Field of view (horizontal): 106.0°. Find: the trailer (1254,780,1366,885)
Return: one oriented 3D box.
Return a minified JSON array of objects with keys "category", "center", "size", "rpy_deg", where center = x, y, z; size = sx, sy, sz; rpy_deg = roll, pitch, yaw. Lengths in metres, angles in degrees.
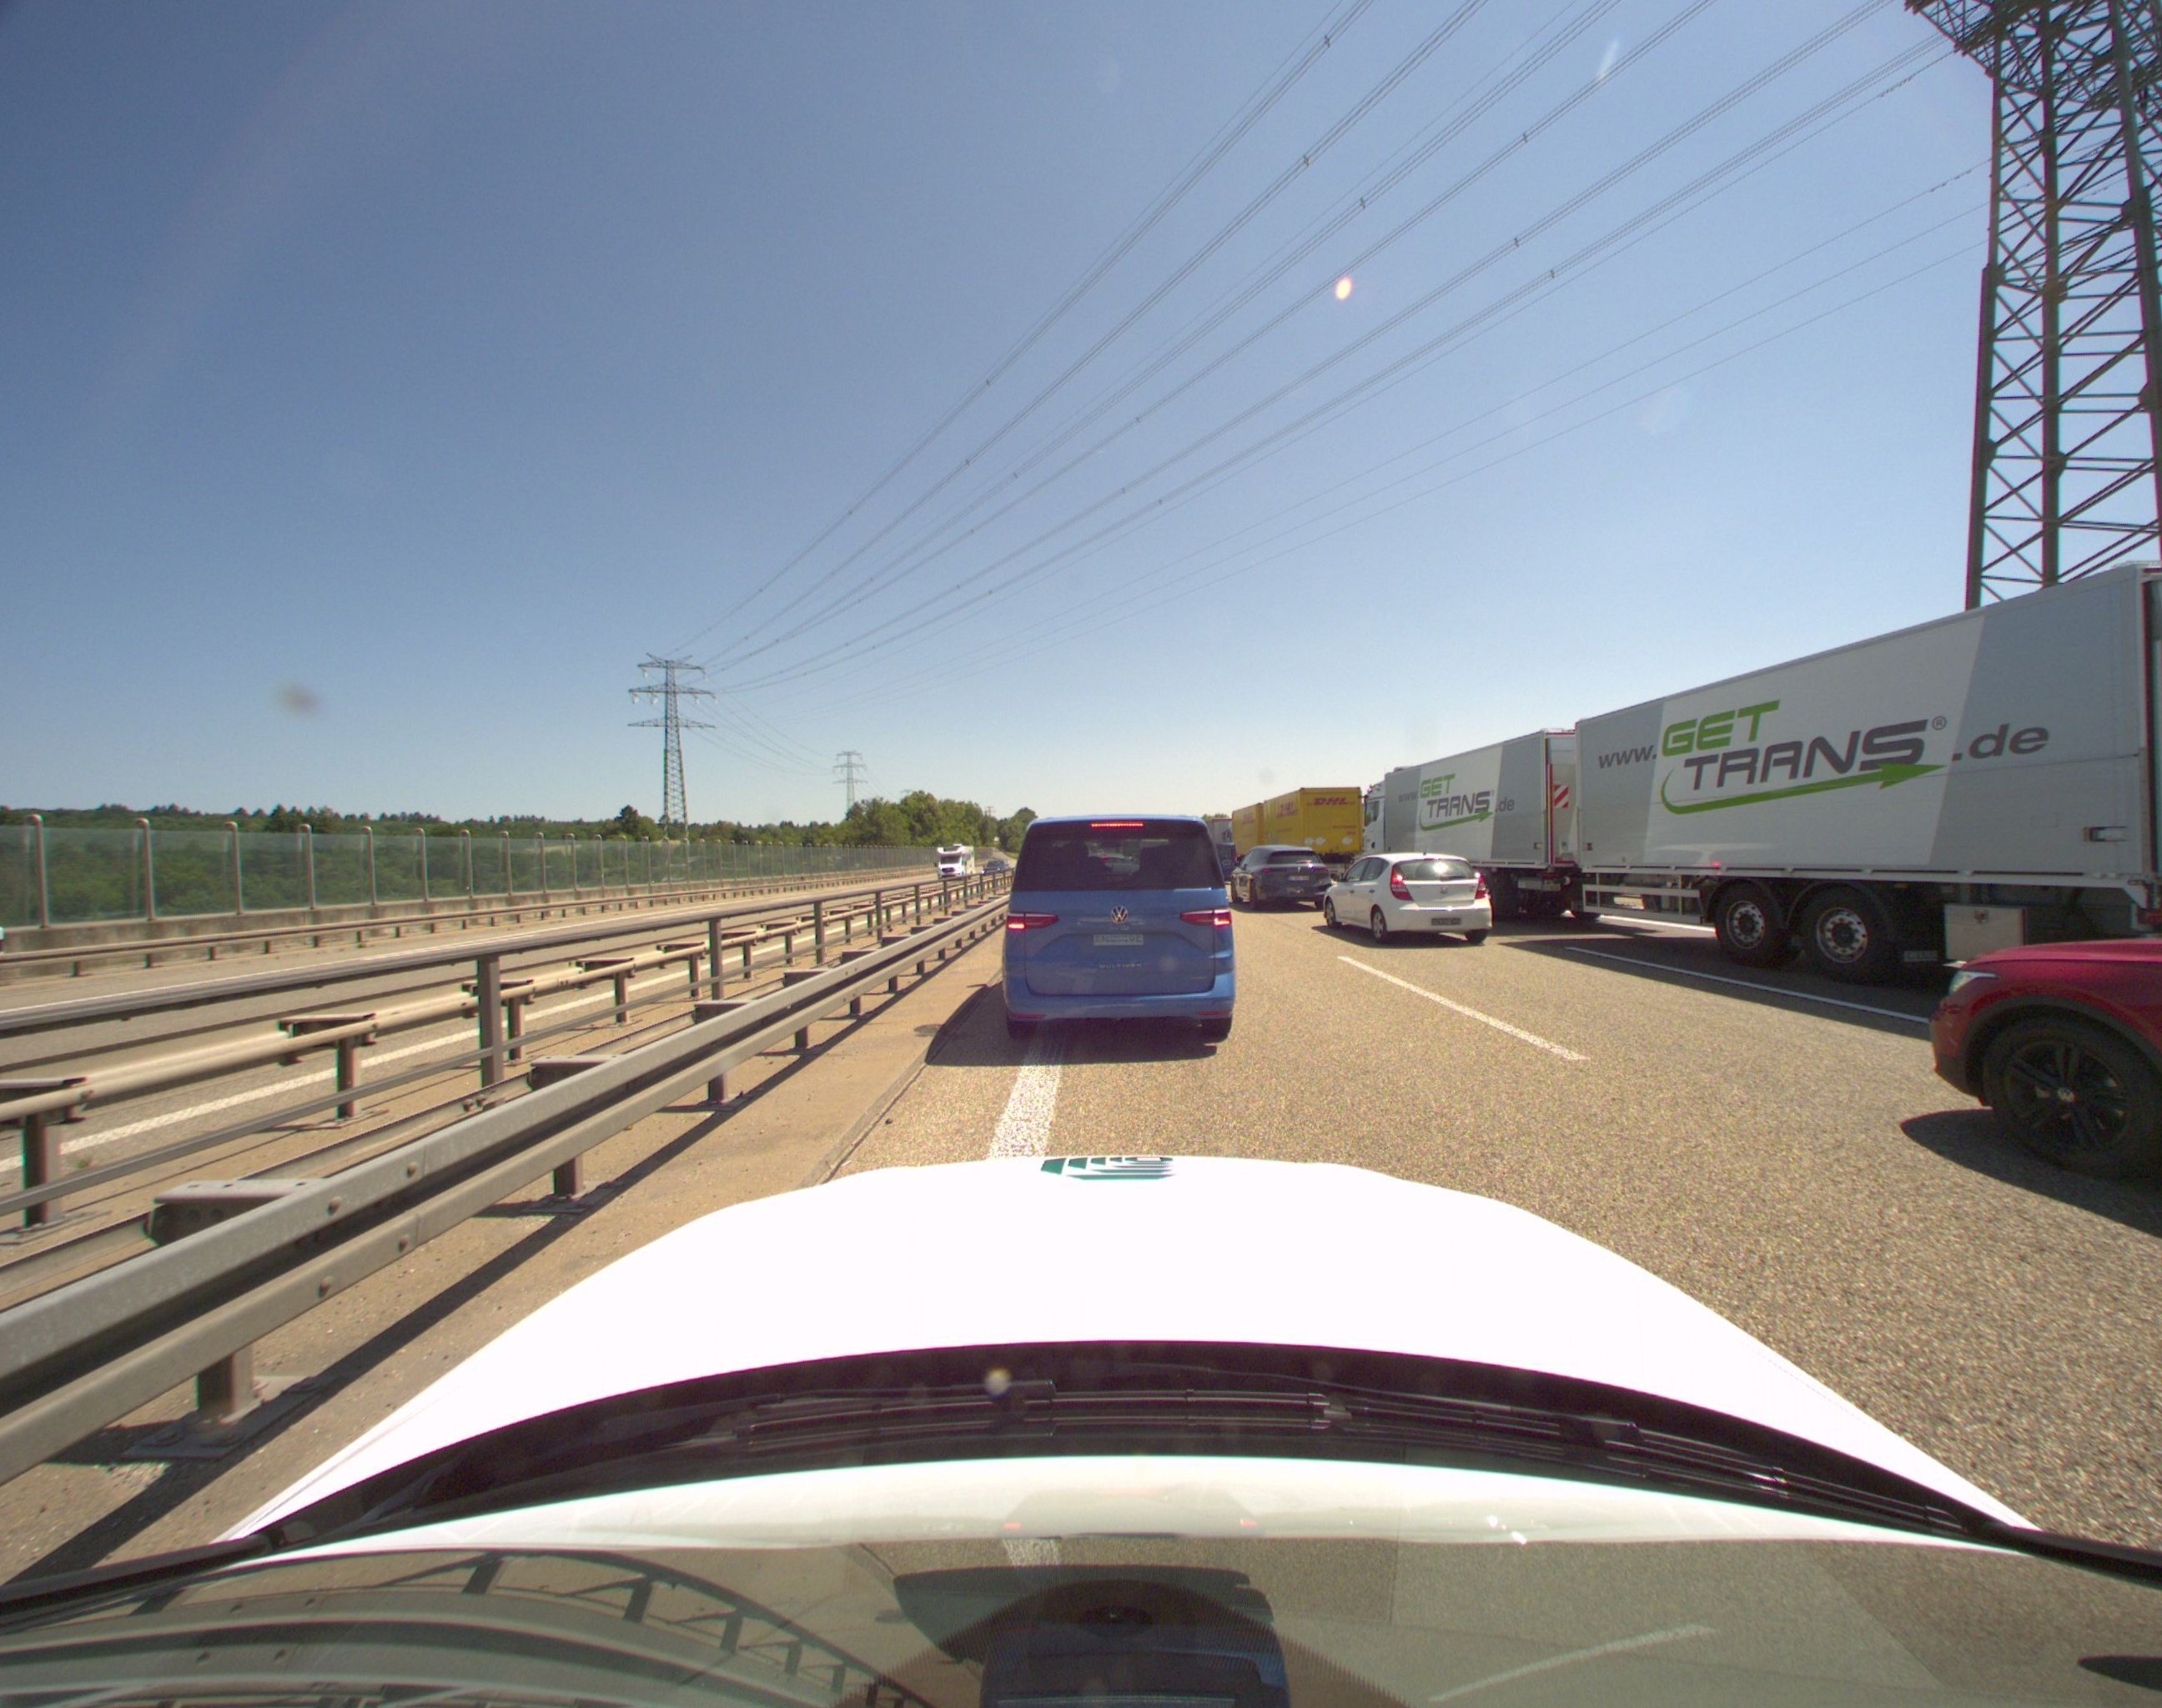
[{"category":"trailer","center":[10.232,-0.836,37.494],"size":[2.854,4.239,9.014],"rpy_deg":[0,-1,2]}]

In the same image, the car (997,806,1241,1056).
[{"category":"car","center":[0.349,0.591,8.138],"size":[1.813,1.857,4.076],"rpy_deg":[0,0,2]}]

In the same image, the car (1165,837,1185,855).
[{"category":"car","center":[11.312,-0.957,98.313],"size":[1.986,2.013,4.463],"rpy_deg":[-2,0,2]}]

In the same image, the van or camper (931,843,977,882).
[{"category":"van or camper","center":[-10.574,0.689,68.526],"size":[2.413,3.024,7.029],"rpy_deg":[-3,0,2]}]

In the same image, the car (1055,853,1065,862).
[{"category":"car","center":[-4.936,0.805,189.109],"size":[1.856,2.131,4.270],"rpy_deg":[-4,0,2]}]

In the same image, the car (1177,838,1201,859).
[{"category":"car","center":[10.678,-0.533,80.661],"size":[1.986,2.014,4.001],"rpy_deg":[0,-1,2]}]

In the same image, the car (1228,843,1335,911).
[{"category":"car","center":[5.355,0.583,22.339],"size":[1.955,1.644,4.294],"rpy_deg":[-1,0,1]}]

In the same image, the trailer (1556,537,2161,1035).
[{"category":"trailer","center":[9.468,-0.527,9.997],"size":[2.688,3.700,8.016],"rpy_deg":[-1,0,1]}]

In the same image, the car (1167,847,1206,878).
[{"category":"car","center":[6.525,0.509,50.673],"size":[1.986,1.816,4.002],"rpy_deg":[-1,0,2]}]

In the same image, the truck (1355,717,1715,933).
[{"category":"truck","center":[9.649,-0.495,19.505],"size":[2.647,3.648,11.013],"rpy_deg":[-1,0,1]}]

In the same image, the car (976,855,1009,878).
[{"category":"car","center":[-6.857,0.954,63.746],"size":[1.860,1.531,4.426],"rpy_deg":[-5,0,2]}]

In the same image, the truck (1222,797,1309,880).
[{"category":"truck","center":[10.479,-0.770,47.507],"size":[2.826,4.243,11.013],"rpy_deg":[0,0,1]}]

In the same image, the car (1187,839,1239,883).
[{"category":"car","center":[6.397,0.334,39.930],"size":[1.955,1.993,4.294],"rpy_deg":[-1,0,1]}]

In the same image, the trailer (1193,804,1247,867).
[{"category":"trailer","center":[10.673,-1.314,63.615],"size":[2.627,4.516,11.305],"rpy_deg":[0,0,2]}]

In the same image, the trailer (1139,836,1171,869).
[{"category":"trailer","center":[7.196,-0.073,80.112],"size":[2.560,2.990,10.667],"rpy_deg":[0,0,2]}]

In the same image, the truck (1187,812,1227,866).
[{"category":"truck","center":[10.907,-1.241,70.959],"size":[2.657,4.484,6.852],"rpy_deg":[0,-1,2]}]

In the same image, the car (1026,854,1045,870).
[{"category":"car","center":[-5.685,0.984,102.434],"size":[1.860,1.699,4.431],"rpy_deg":[-5,0,1]}]

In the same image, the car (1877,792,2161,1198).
[{"category":"car","center":[5.273,0.560,2.400],"size":[1.769,1.662,4.225],"rpy_deg":[-1,0,1]}]

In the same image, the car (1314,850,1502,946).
[{"category":"car","center":[5.690,0.681,14.791],"size":[1.782,1.455,4.294],"rpy_deg":[-1,0,2]}]
